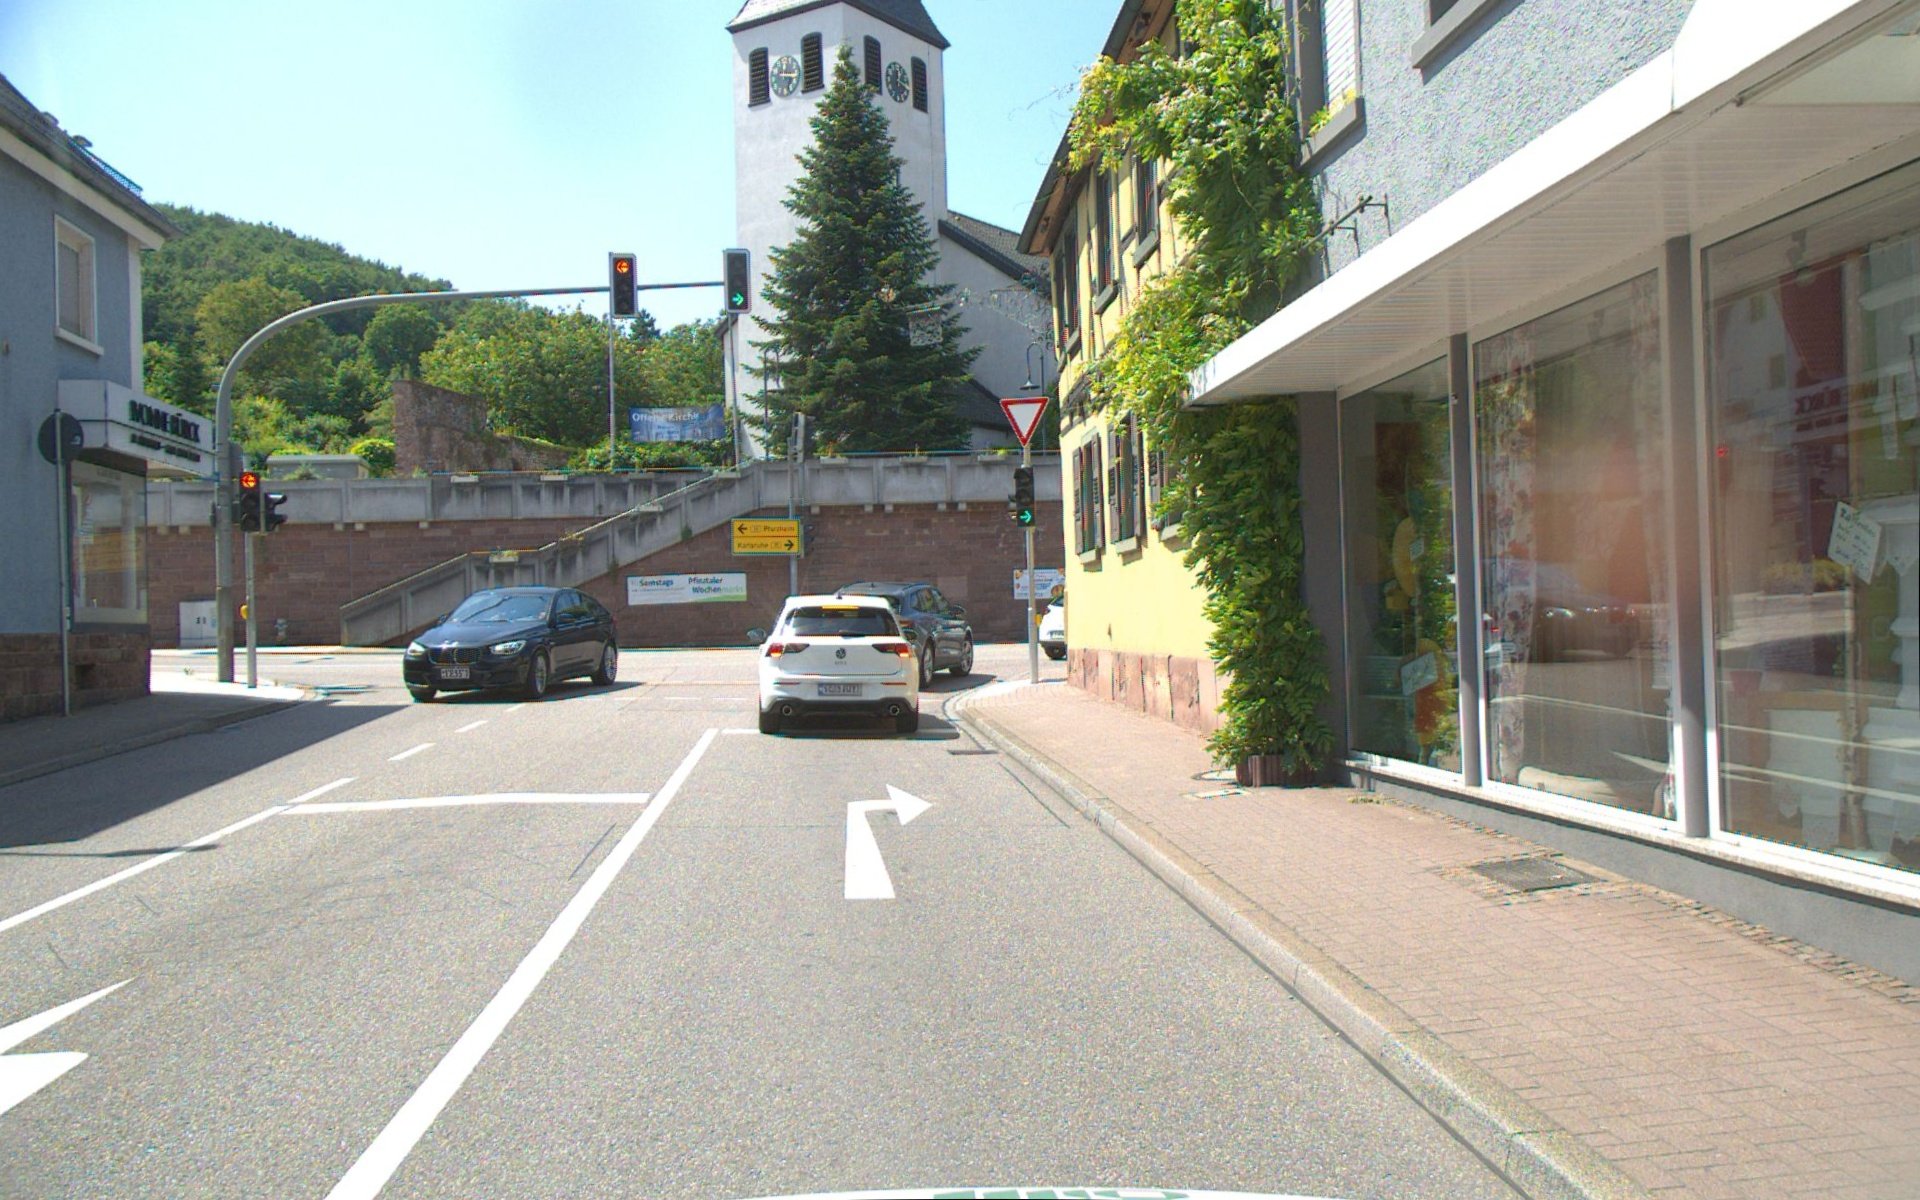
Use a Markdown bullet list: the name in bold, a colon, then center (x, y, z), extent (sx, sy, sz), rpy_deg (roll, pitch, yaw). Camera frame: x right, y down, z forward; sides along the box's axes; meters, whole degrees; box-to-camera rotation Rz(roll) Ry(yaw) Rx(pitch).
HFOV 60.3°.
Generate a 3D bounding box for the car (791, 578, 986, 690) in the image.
- **car**: center (-1.068, 0.493, 27.352), extent (1.908, 1.610, 4.329), rpy_deg (-1, 2, 16)

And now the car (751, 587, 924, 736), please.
- **car**: center (-1.405, 0.640, 18.939), extent (1.748, 1.484, 3.859), rpy_deg (-1, 0, -5)

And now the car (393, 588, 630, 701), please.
- **car**: center (-6.569, 0.584, 24.811), extent (1.758, 1.513, 4.801), rpy_deg (0, 0, 7)

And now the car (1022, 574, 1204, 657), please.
- **car**: center (3.196, 0.267, 34.060), extent (1.744, 1.522, 3.965), rpy_deg (0, 2, 41)
